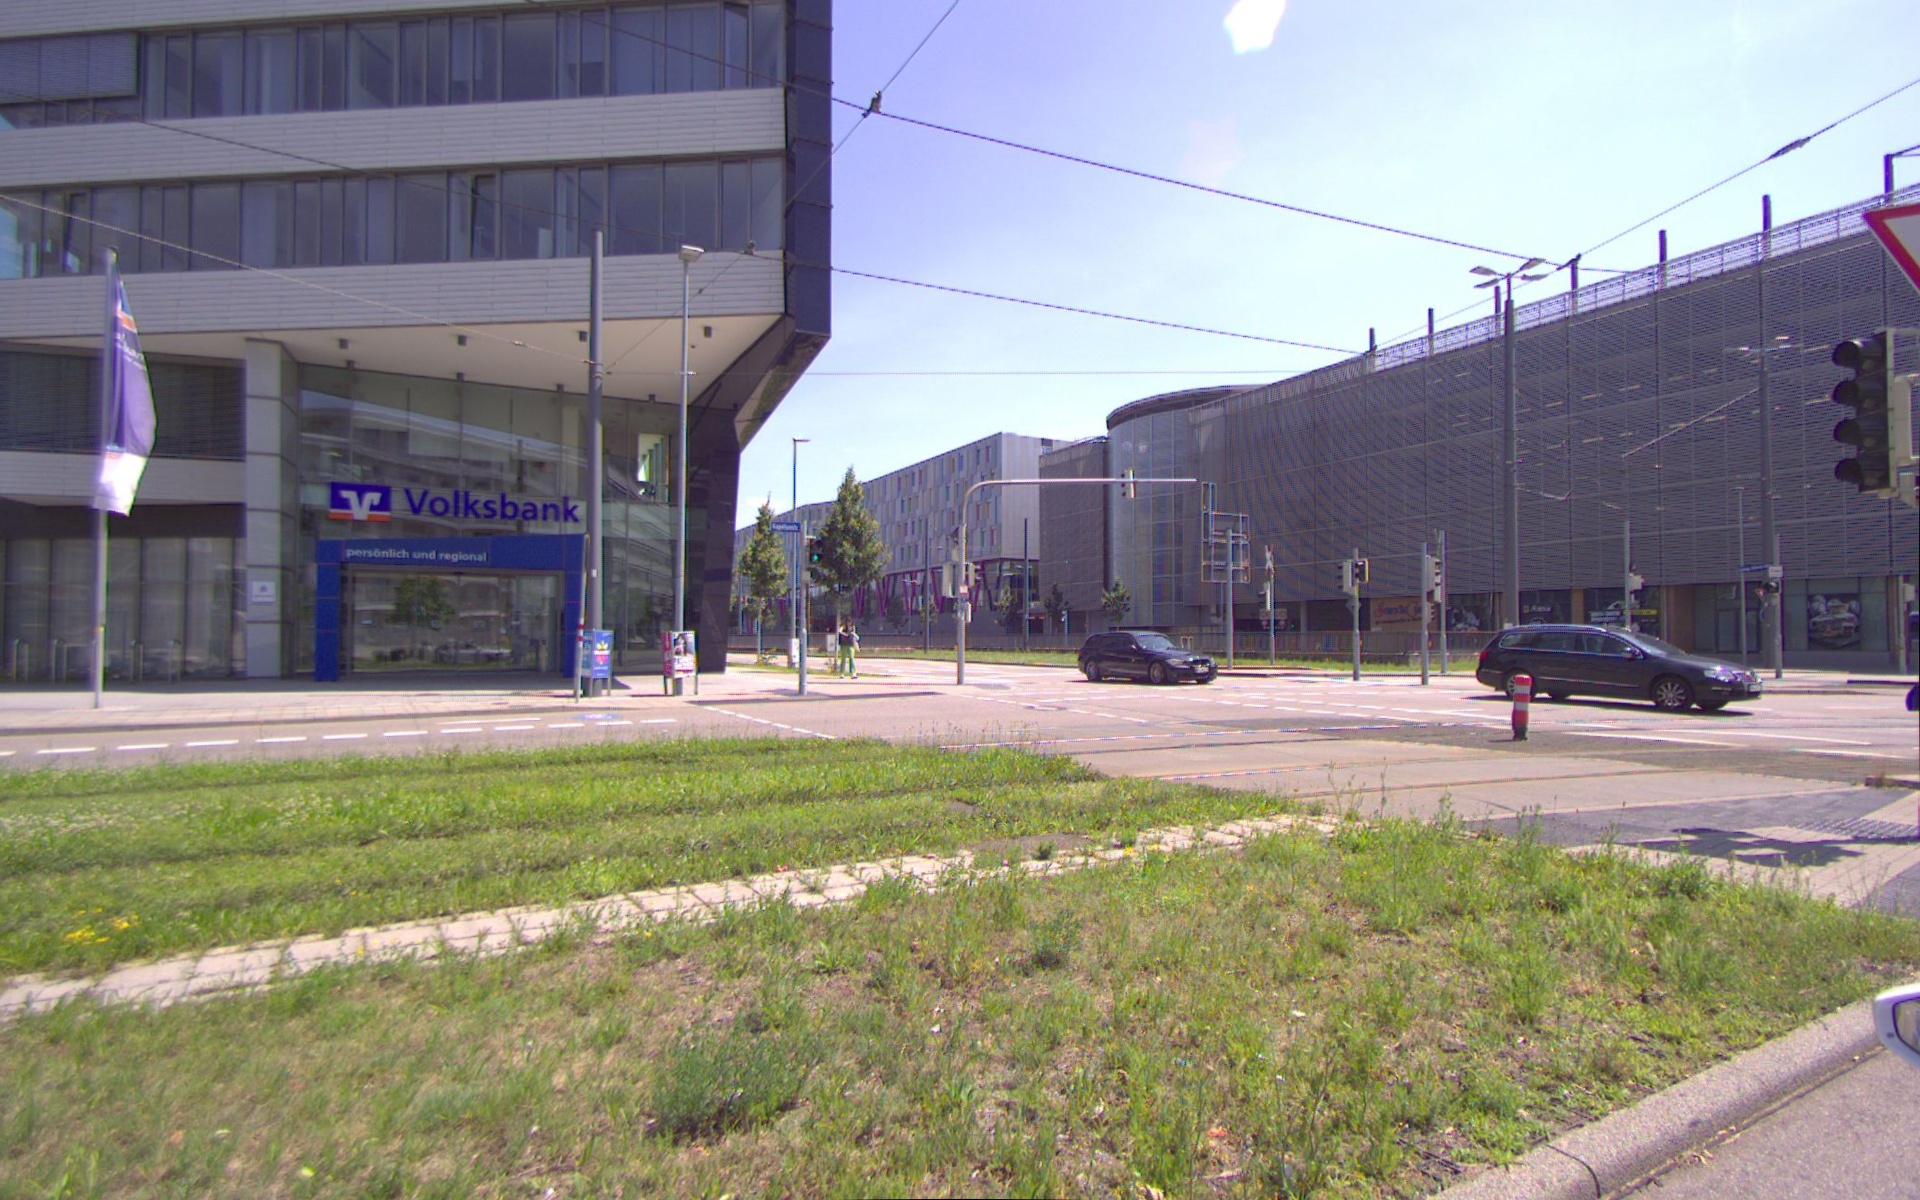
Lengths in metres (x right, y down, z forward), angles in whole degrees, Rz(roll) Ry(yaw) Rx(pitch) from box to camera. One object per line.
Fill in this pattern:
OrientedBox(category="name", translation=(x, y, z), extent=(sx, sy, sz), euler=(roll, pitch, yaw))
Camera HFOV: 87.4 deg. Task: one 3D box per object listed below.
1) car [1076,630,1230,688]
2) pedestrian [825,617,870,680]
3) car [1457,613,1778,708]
OrientedBox(category="car", translation=(5.068, 1.509, 26.966), extent=(1.617, 1.360, 4.282), euler=(0, -1, -32))
OrientedBox(category="pedestrian", translation=(-3.200, 1.357, 28.628), extent=(0.889, 1.770, 0.975), euler=(0, -1, 31))
OrientedBox(category="car", translation=(12.489, 1.061, 19.423), extent=(1.980, 1.601, 4.825), euler=(0, -1, -34))
